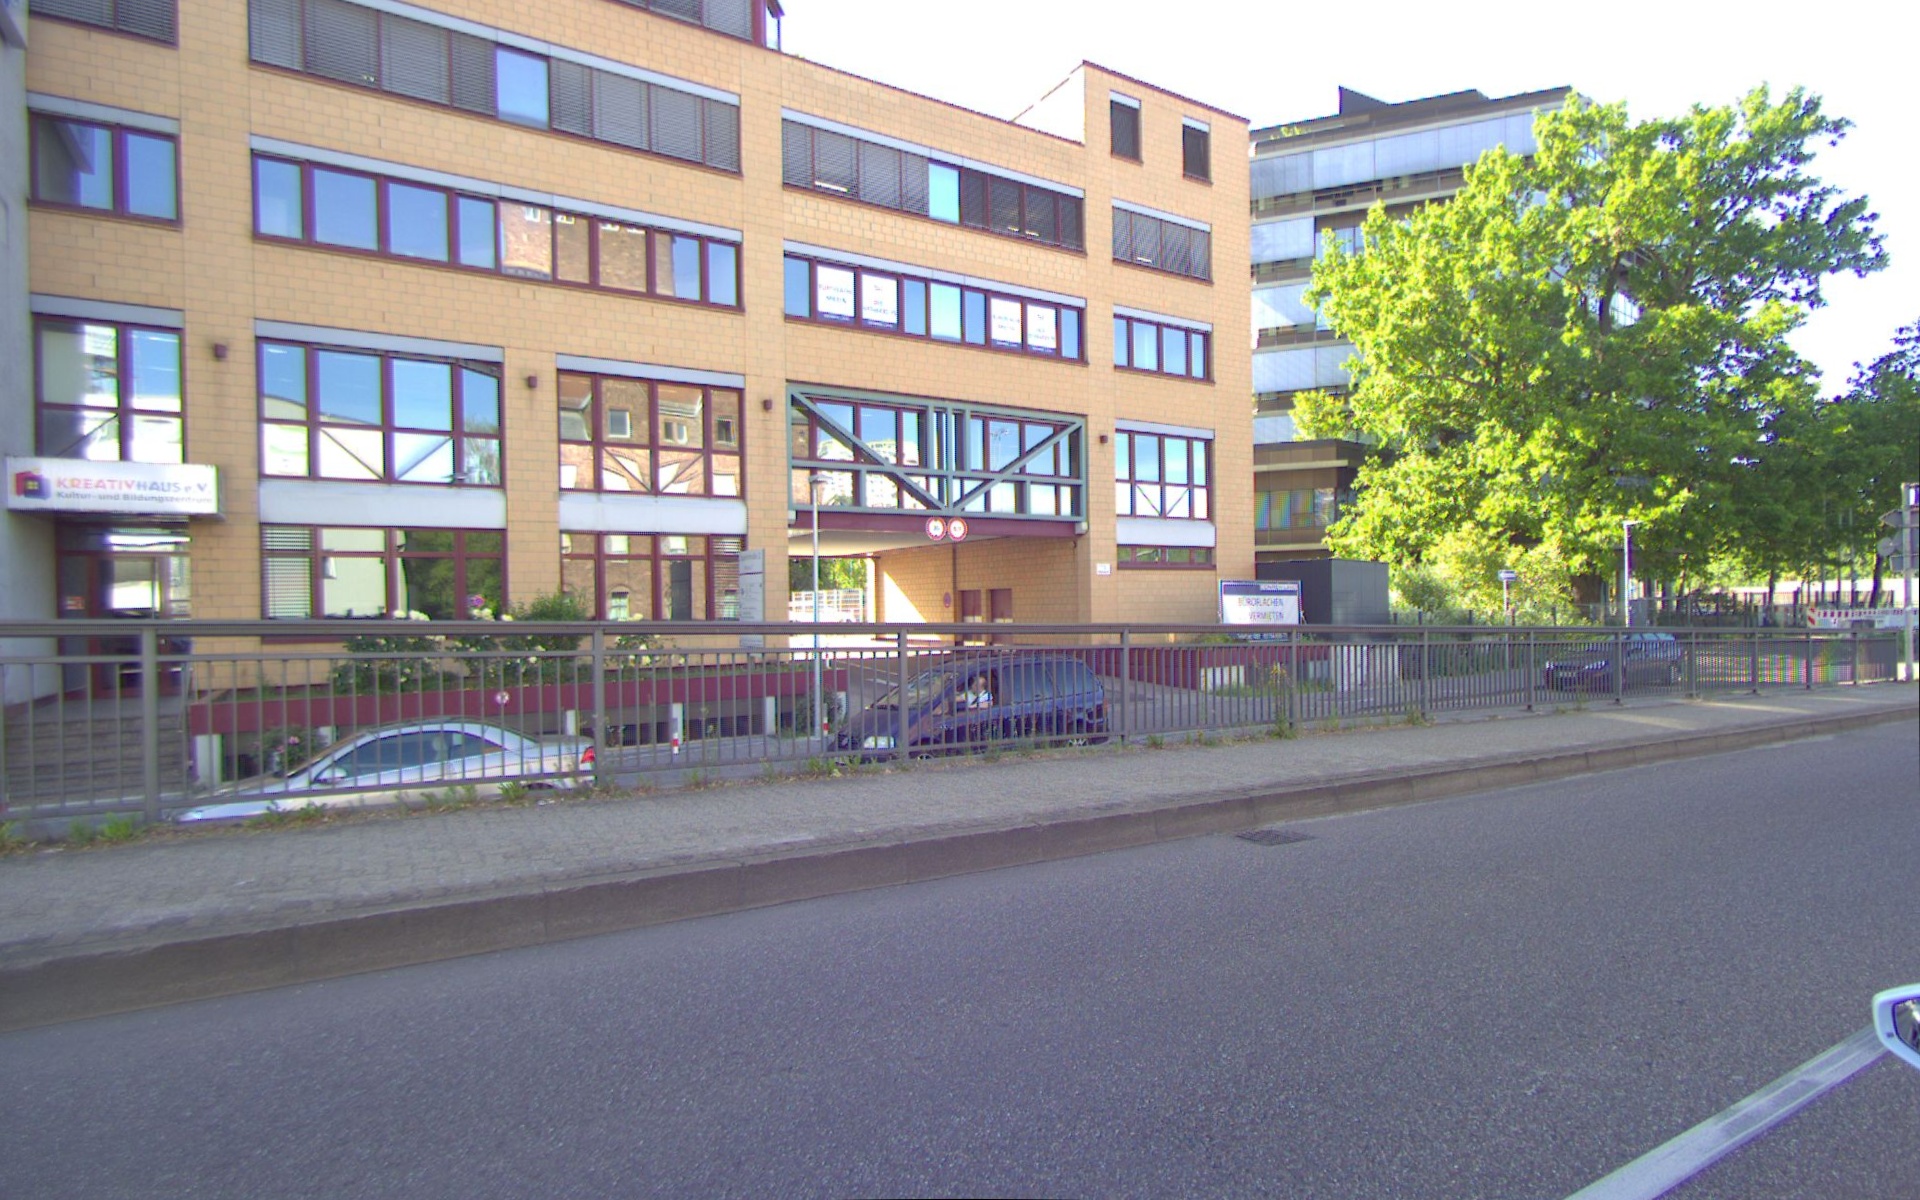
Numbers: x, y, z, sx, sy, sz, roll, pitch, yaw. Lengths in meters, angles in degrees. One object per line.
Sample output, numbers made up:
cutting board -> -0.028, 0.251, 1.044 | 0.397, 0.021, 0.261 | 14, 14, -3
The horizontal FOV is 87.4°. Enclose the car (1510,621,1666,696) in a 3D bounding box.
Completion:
car -> 16.432, 1.466, 26.264 | 3.953, 1.715, 1.843 | -1, 0, -30

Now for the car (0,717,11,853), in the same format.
car -> -10.613, 1.774, 8.292 | 3.766, 1.286, 1.567 | 0, -2, -32

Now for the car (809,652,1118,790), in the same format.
car -> 0.139, 1.696, 15.195 | 4.541, 1.669, 1.710 | 0, -2, -35

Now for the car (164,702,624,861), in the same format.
car -> -6.138, 1.898, 11.298 | 4.210, 1.181, 1.713 | 0, -2, -32
